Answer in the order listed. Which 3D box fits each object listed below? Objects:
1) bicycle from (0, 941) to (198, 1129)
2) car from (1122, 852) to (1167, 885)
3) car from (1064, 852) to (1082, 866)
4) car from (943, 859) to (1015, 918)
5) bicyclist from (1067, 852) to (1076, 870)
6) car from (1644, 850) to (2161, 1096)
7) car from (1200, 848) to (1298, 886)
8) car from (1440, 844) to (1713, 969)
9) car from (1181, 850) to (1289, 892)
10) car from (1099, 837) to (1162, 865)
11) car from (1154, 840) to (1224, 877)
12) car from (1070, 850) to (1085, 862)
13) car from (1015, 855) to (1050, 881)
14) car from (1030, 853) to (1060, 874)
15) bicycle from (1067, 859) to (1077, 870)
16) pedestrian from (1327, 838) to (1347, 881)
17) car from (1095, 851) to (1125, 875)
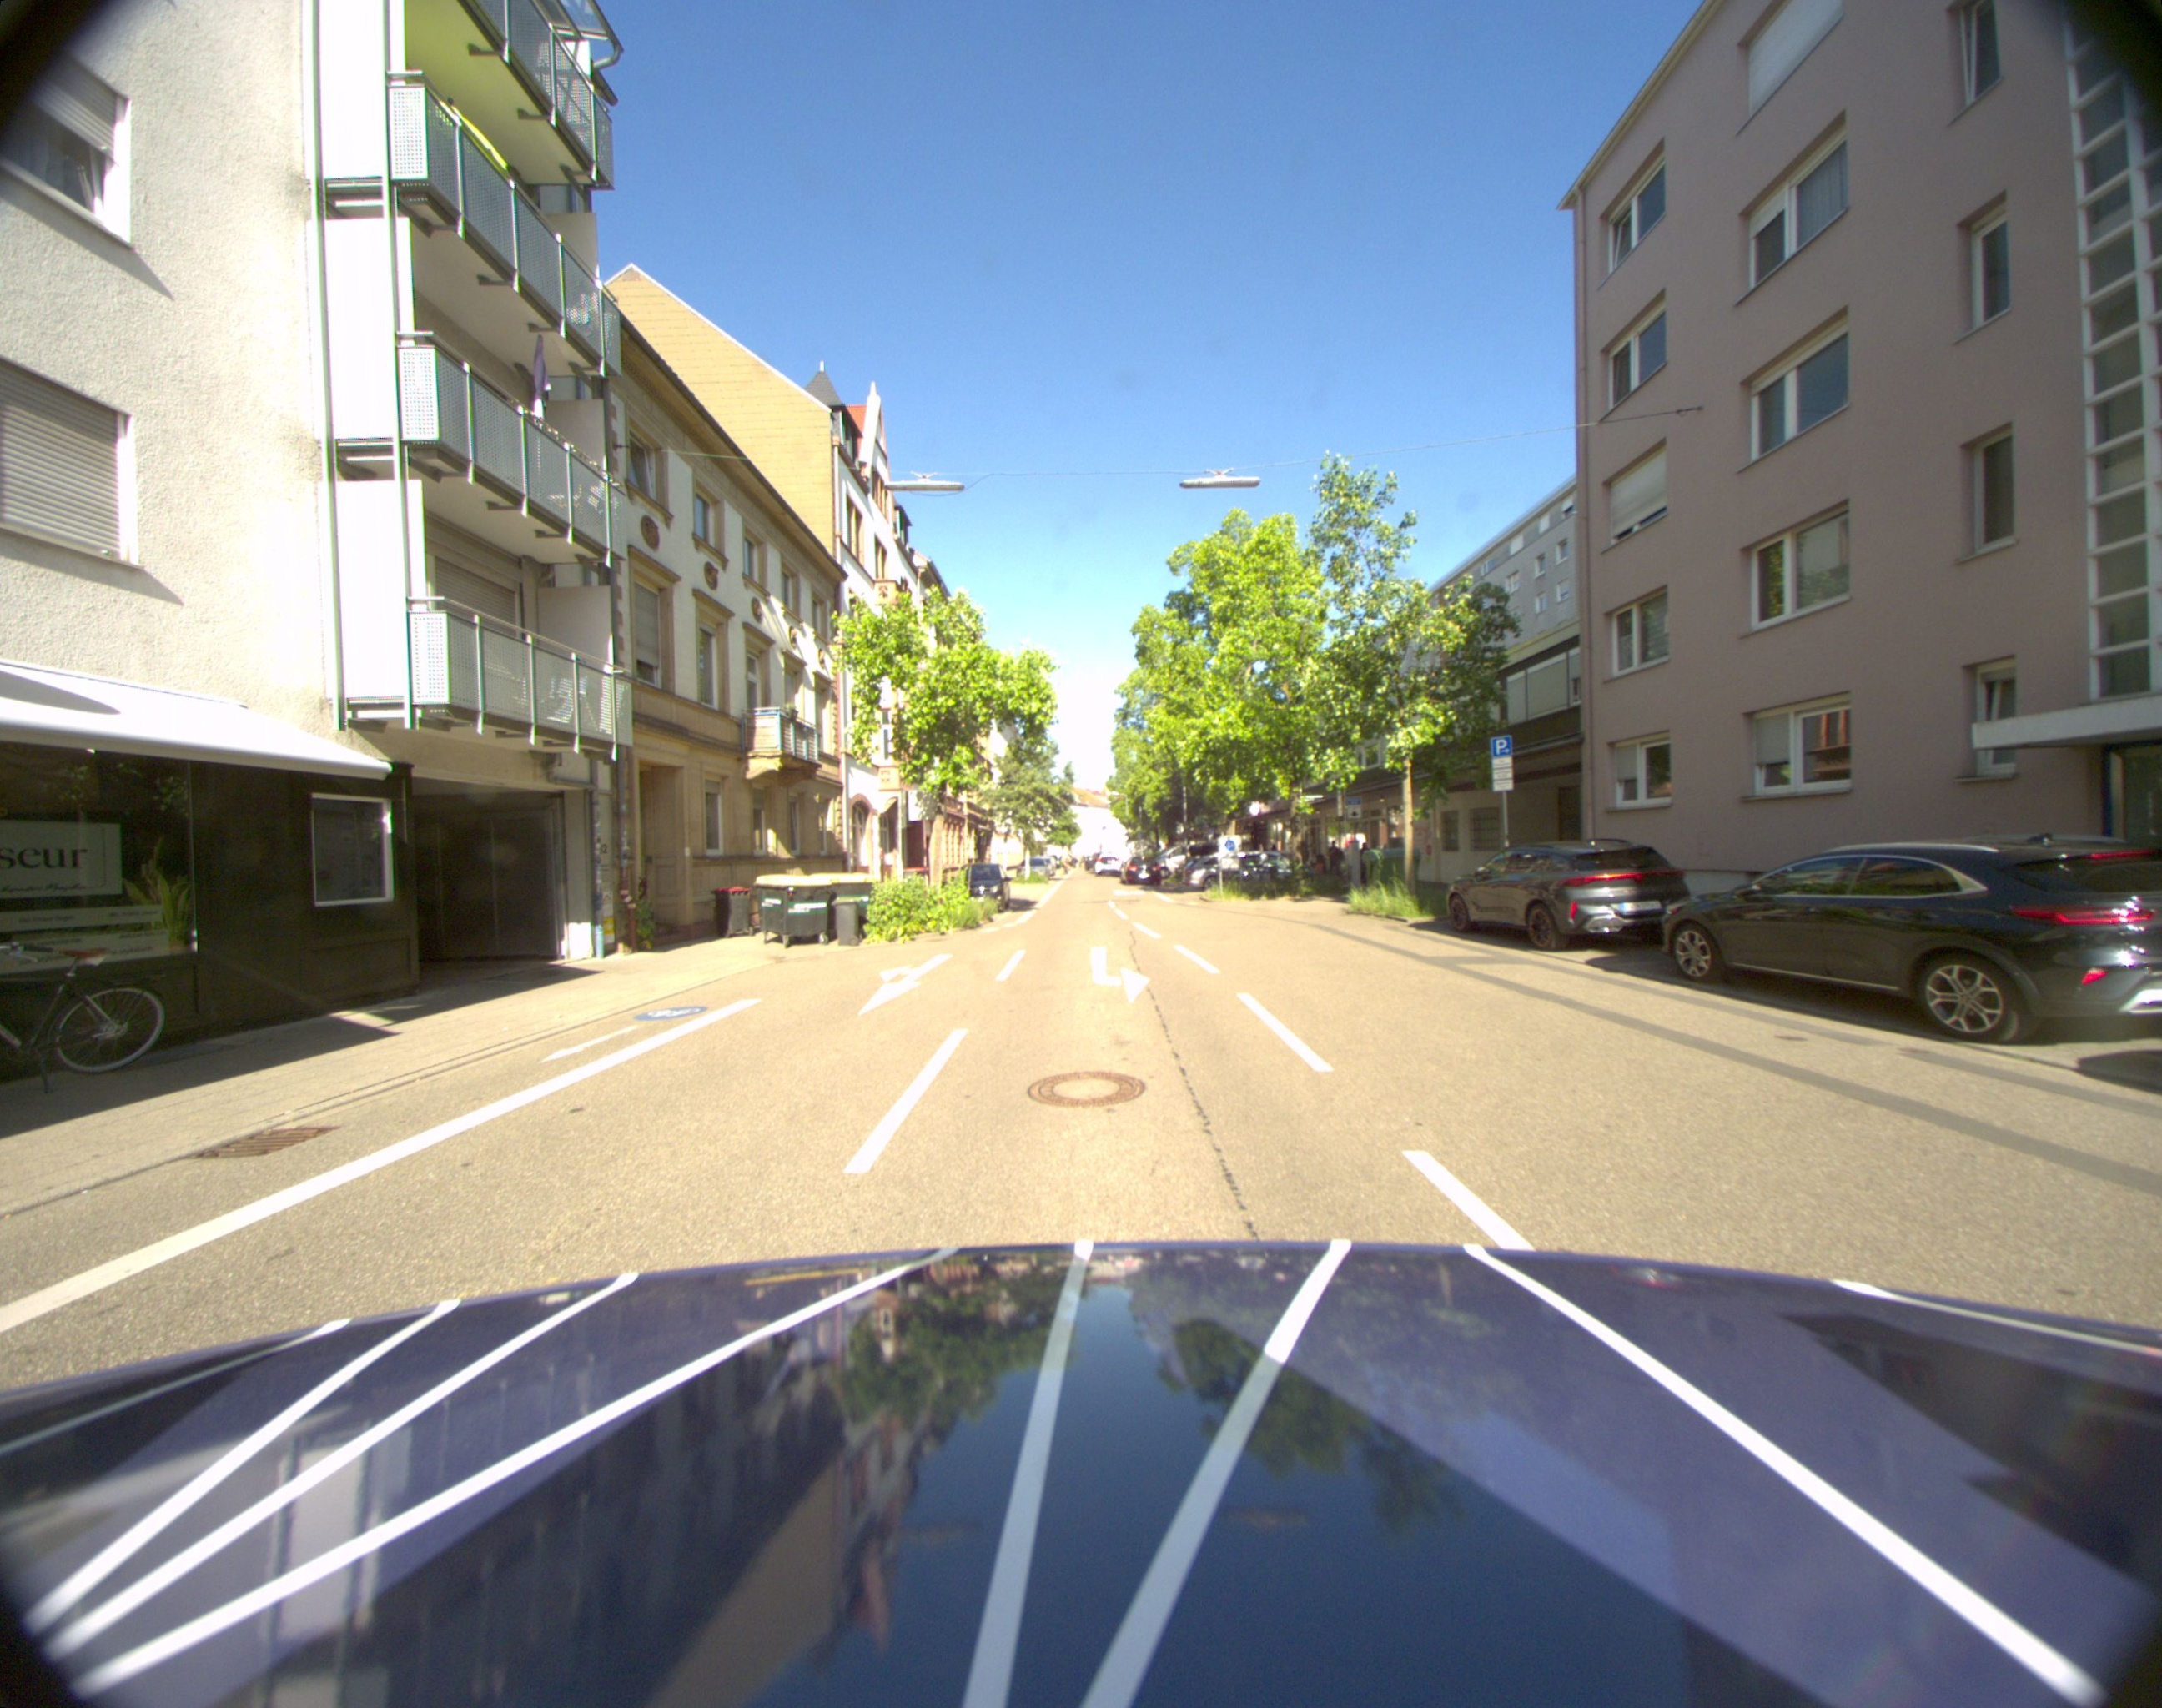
[{"bbox_3d":[-7.652,1.303,5.430,0.598,1.137,1.774,1,0,1],"label":"bicycle"},{"bbox_3d":[3.176,0.692,38.729,1.911,1.543,4.000,-2,0,0],"label":"car"},{"bbox_3d":[-0.854,0.530,84.458,1.713,1.444,3.547,-2,0,2],"label":"car"},{"bbox_3d":[-3.052,0.997,23.295,1.627,1.586,3.547,-2,0,1],"label":"car"},{"bbox_3d":[-0.732,0.561,59.302,0.582,1.369,0.665,-2,1,6],"label":"bicyclist"},{"bbox_3d":[7.477,0.749,6.879,1.727,1.459,4.158,-4,0,2],"label":"car"},{"bbox_3d":[7.417,0.583,33.899,3.996,1.543,1.913,-2,0,3],"label":"car"},{"bbox_3d":[7.592,0.697,12.227,1.727,1.567,4.158,-4,0,2],"label":"car"},{"bbox_3d":[6.137,0.664,30.599,3.996,1.543,1.913,-2,0,3],"label":"car"},{"bbox_3d":[4.635,-0.292,71.479,5.562,2.379,1.976,-2,1,-11],"label":"car"},{"bbox_3d":[6.339,0.266,44.828,3.875,2.031,1.913,-2,1,3],"label":"car"},{"bbox_3d":[-0.412,0.271,94.729,1.713,1.444,3.547,-2,0,3],"label":"car"},{"bbox_3d":[-2.877,0.802,45.783,1.914,1.444,3.546,-2,0,-1],"label":"car"},{"bbox_3d":[-2.586,0.680,55.526,1.914,1.444,3.547,-2,0,1],"label":"car"},{"bbox_3d":[-0.711,0.782,59.358,0.582,0.801,1.710,-2,0,6],"label":"bicycle"},{"bbox_3d":[10.876,0.235,32.274,0.623,1.795,0.502,-2,1,2],"label":"pedestrian"},{"bbox_3d":[1.992,0.588,52.608,1.911,1.543,4.000,-2,0,0],"label":"car"}]
